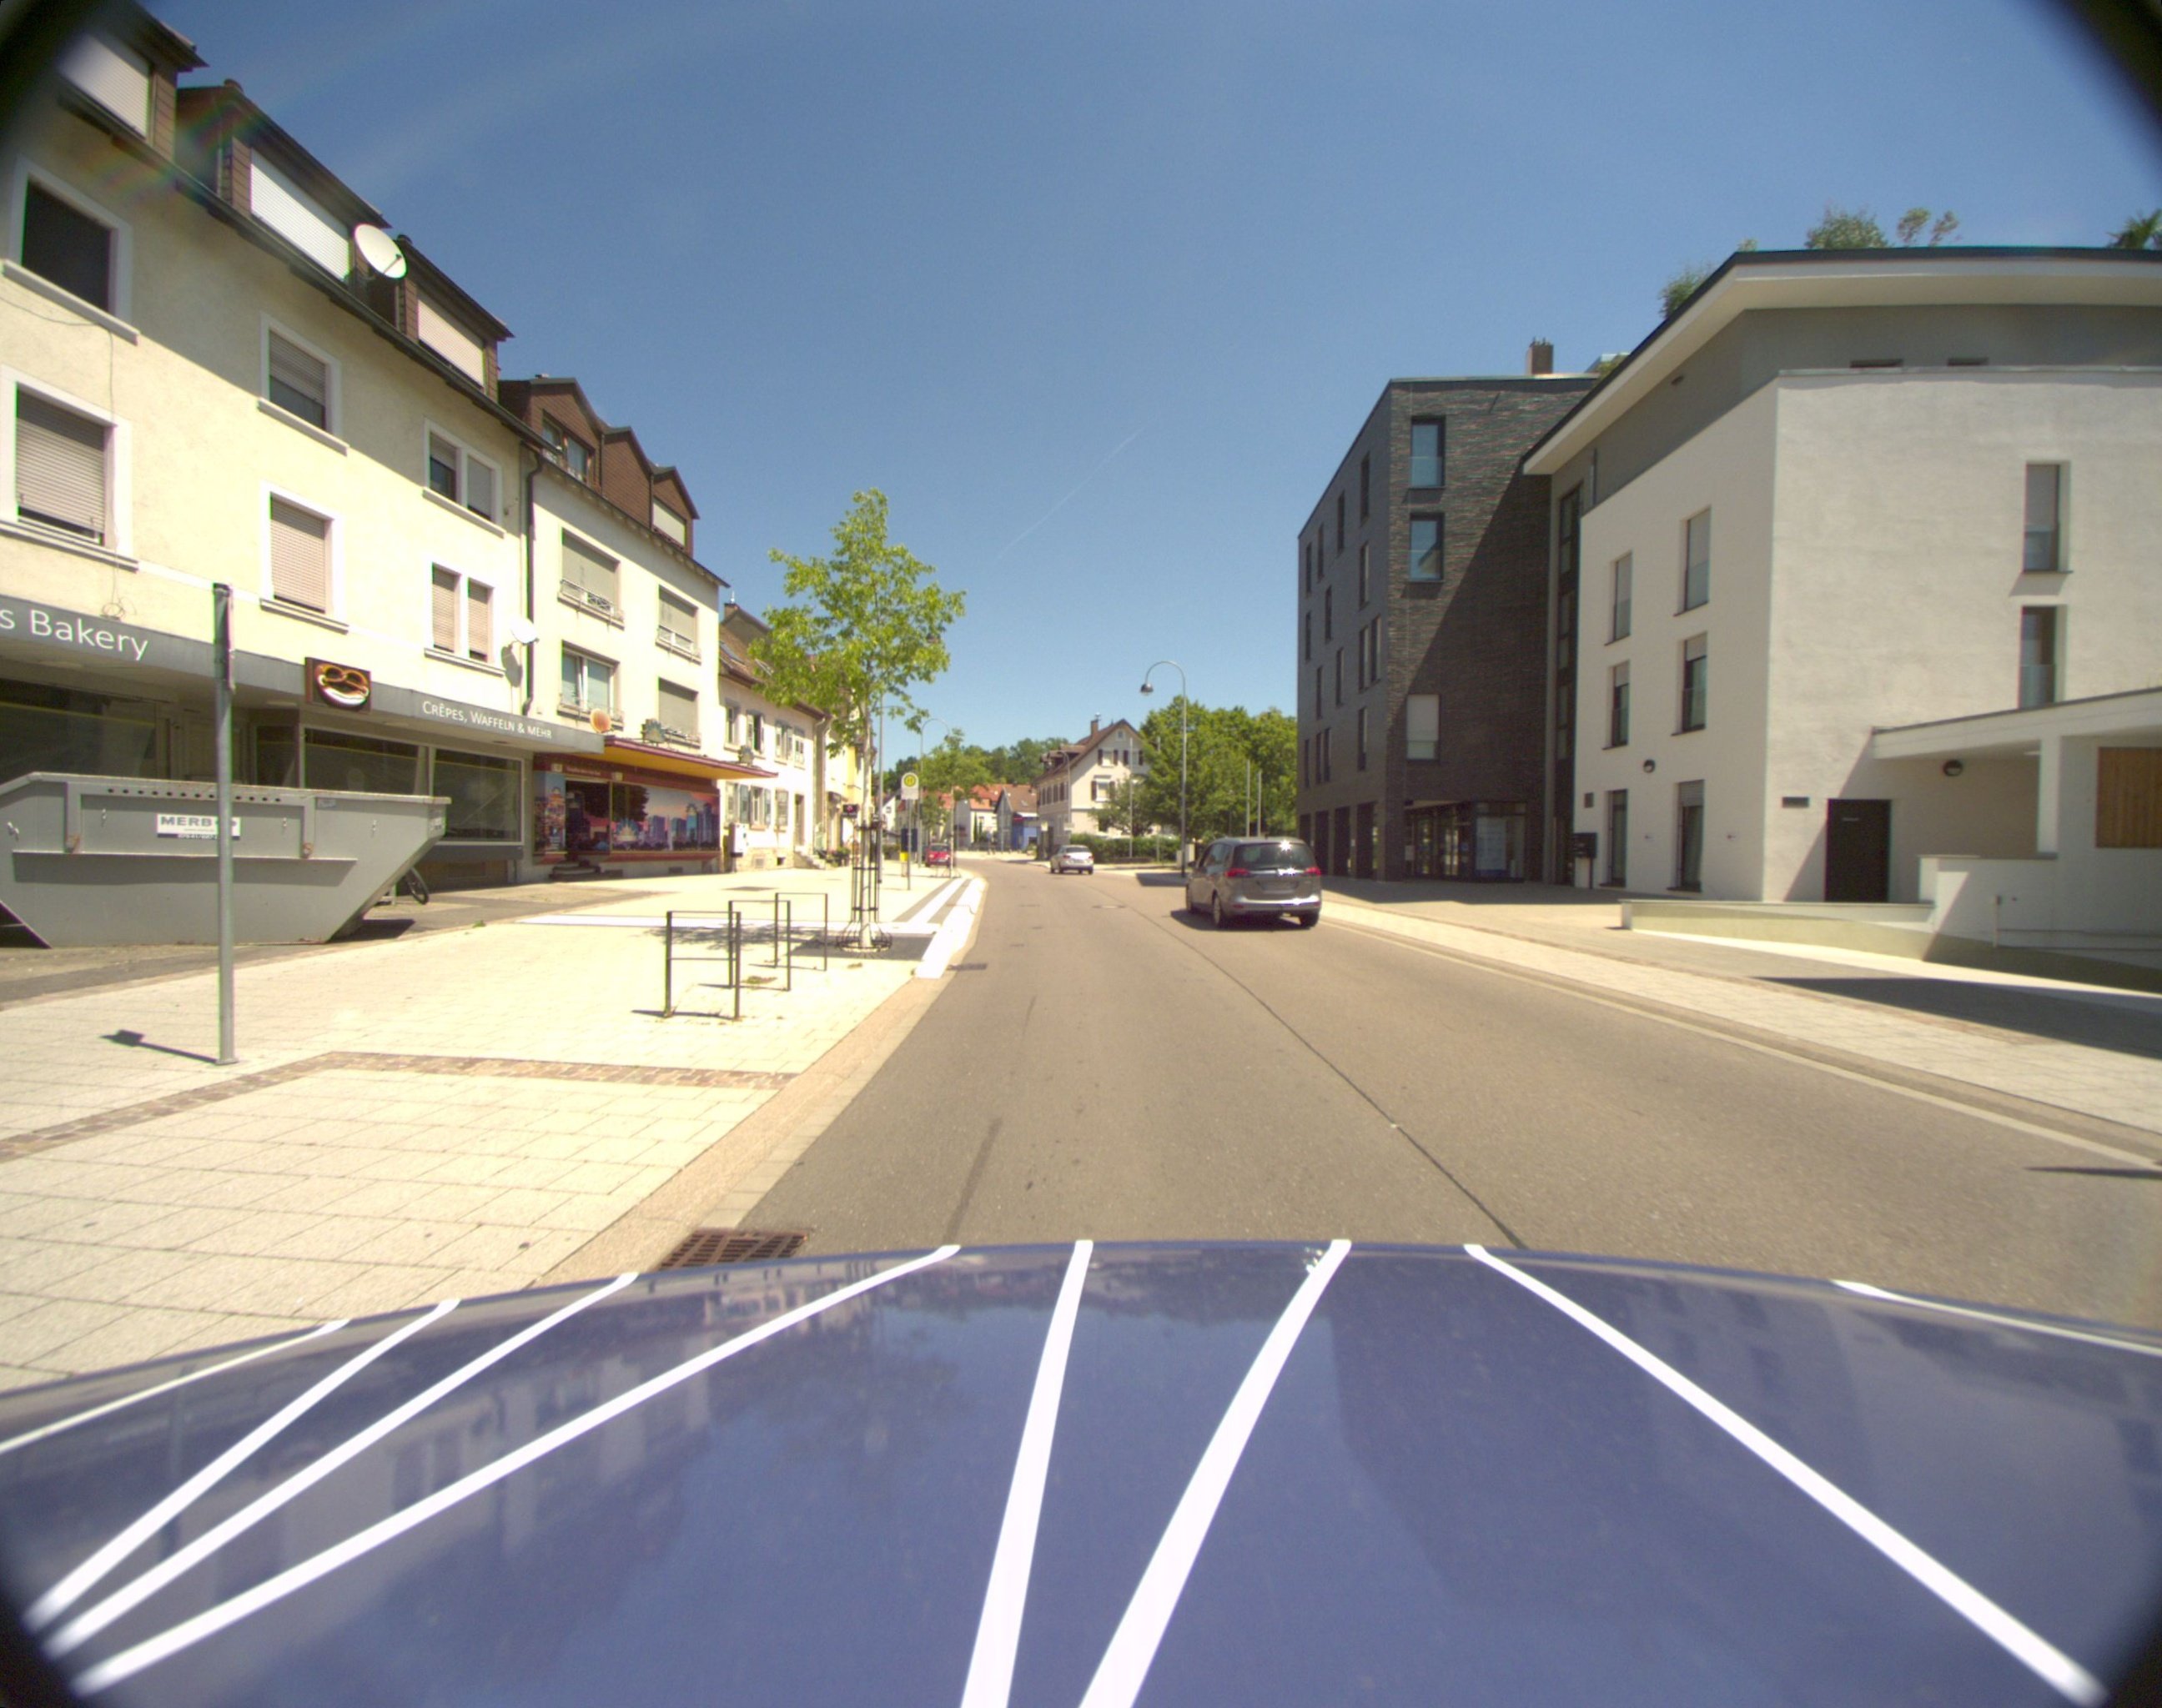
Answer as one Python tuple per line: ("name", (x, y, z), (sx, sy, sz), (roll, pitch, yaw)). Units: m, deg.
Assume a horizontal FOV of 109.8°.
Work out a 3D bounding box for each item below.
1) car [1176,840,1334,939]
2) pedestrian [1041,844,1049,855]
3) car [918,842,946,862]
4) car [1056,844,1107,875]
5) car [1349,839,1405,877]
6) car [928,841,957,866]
("car", (3.212, 0.565, 14.936), (1.947, 1.649, 4.233), (-1, 1, -3))
("pedestrian", (-3.346, -0.433, 70.568), (0.599, 1.053, 0.566), (-1, 2, -18))
("car", (-11.929, -0.181, 60.698), (1.737, 1.464, 4.316), (2, 0, -16))
("car", (-0.030, 0.242, 36.519), (1.673, 1.388, 3.842), (0, 1, -13))
("car", (12.963, 0.115, 33.447), (1.696, 1.478, 4.084), (4, 2, 14))
("car", (-8.725, -0.042, 47.600), (1.685, 1.505, 3.382), (1, 1, -12))
